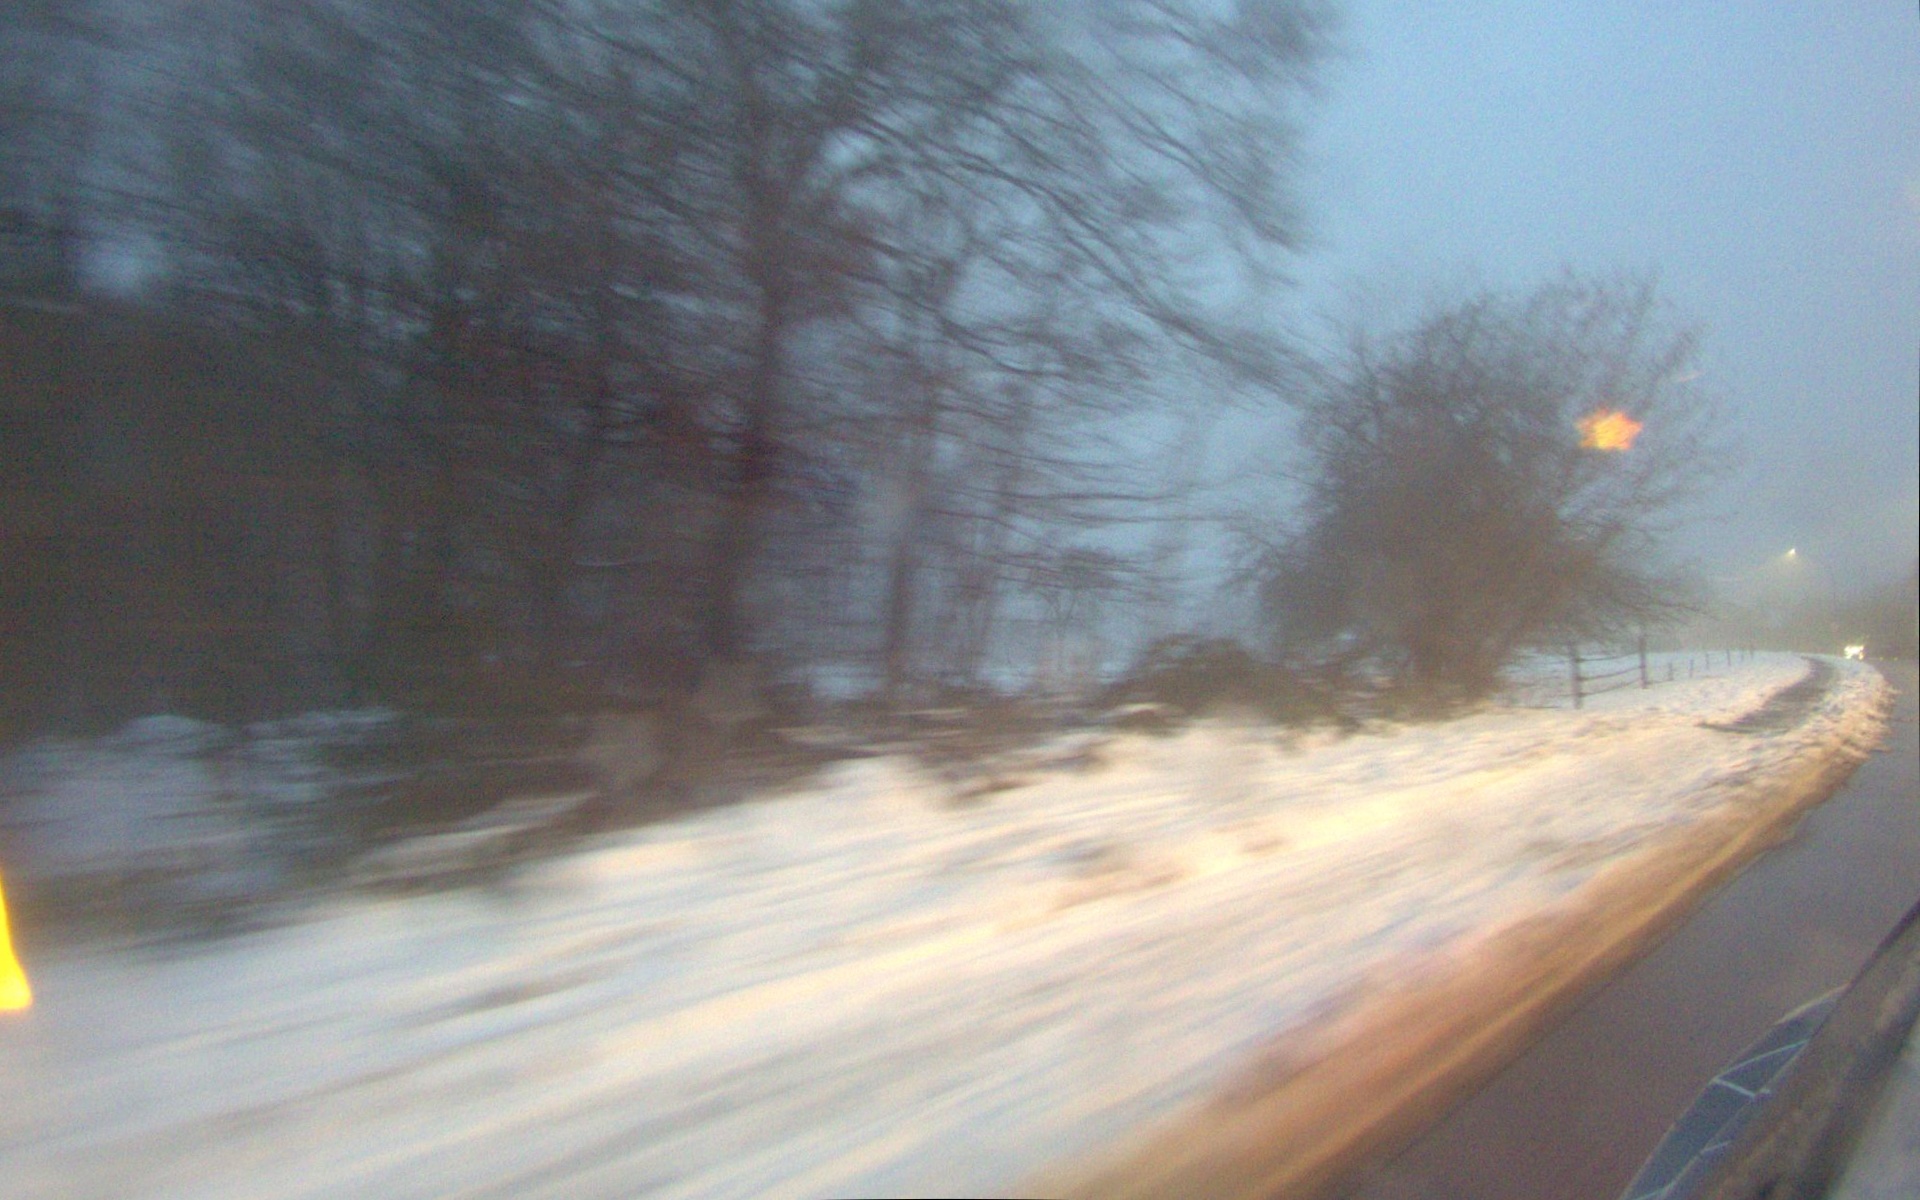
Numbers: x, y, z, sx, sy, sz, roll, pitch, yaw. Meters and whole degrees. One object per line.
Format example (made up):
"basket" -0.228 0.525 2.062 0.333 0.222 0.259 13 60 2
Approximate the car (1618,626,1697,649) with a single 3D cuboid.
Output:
"car" 49.434 2.679 71.857 4.428 1.400 2.012 -5 -5 32

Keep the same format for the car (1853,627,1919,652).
"car" 55.729 2.413 60.921 1.867 1.445 5.331 -1 -3 30
